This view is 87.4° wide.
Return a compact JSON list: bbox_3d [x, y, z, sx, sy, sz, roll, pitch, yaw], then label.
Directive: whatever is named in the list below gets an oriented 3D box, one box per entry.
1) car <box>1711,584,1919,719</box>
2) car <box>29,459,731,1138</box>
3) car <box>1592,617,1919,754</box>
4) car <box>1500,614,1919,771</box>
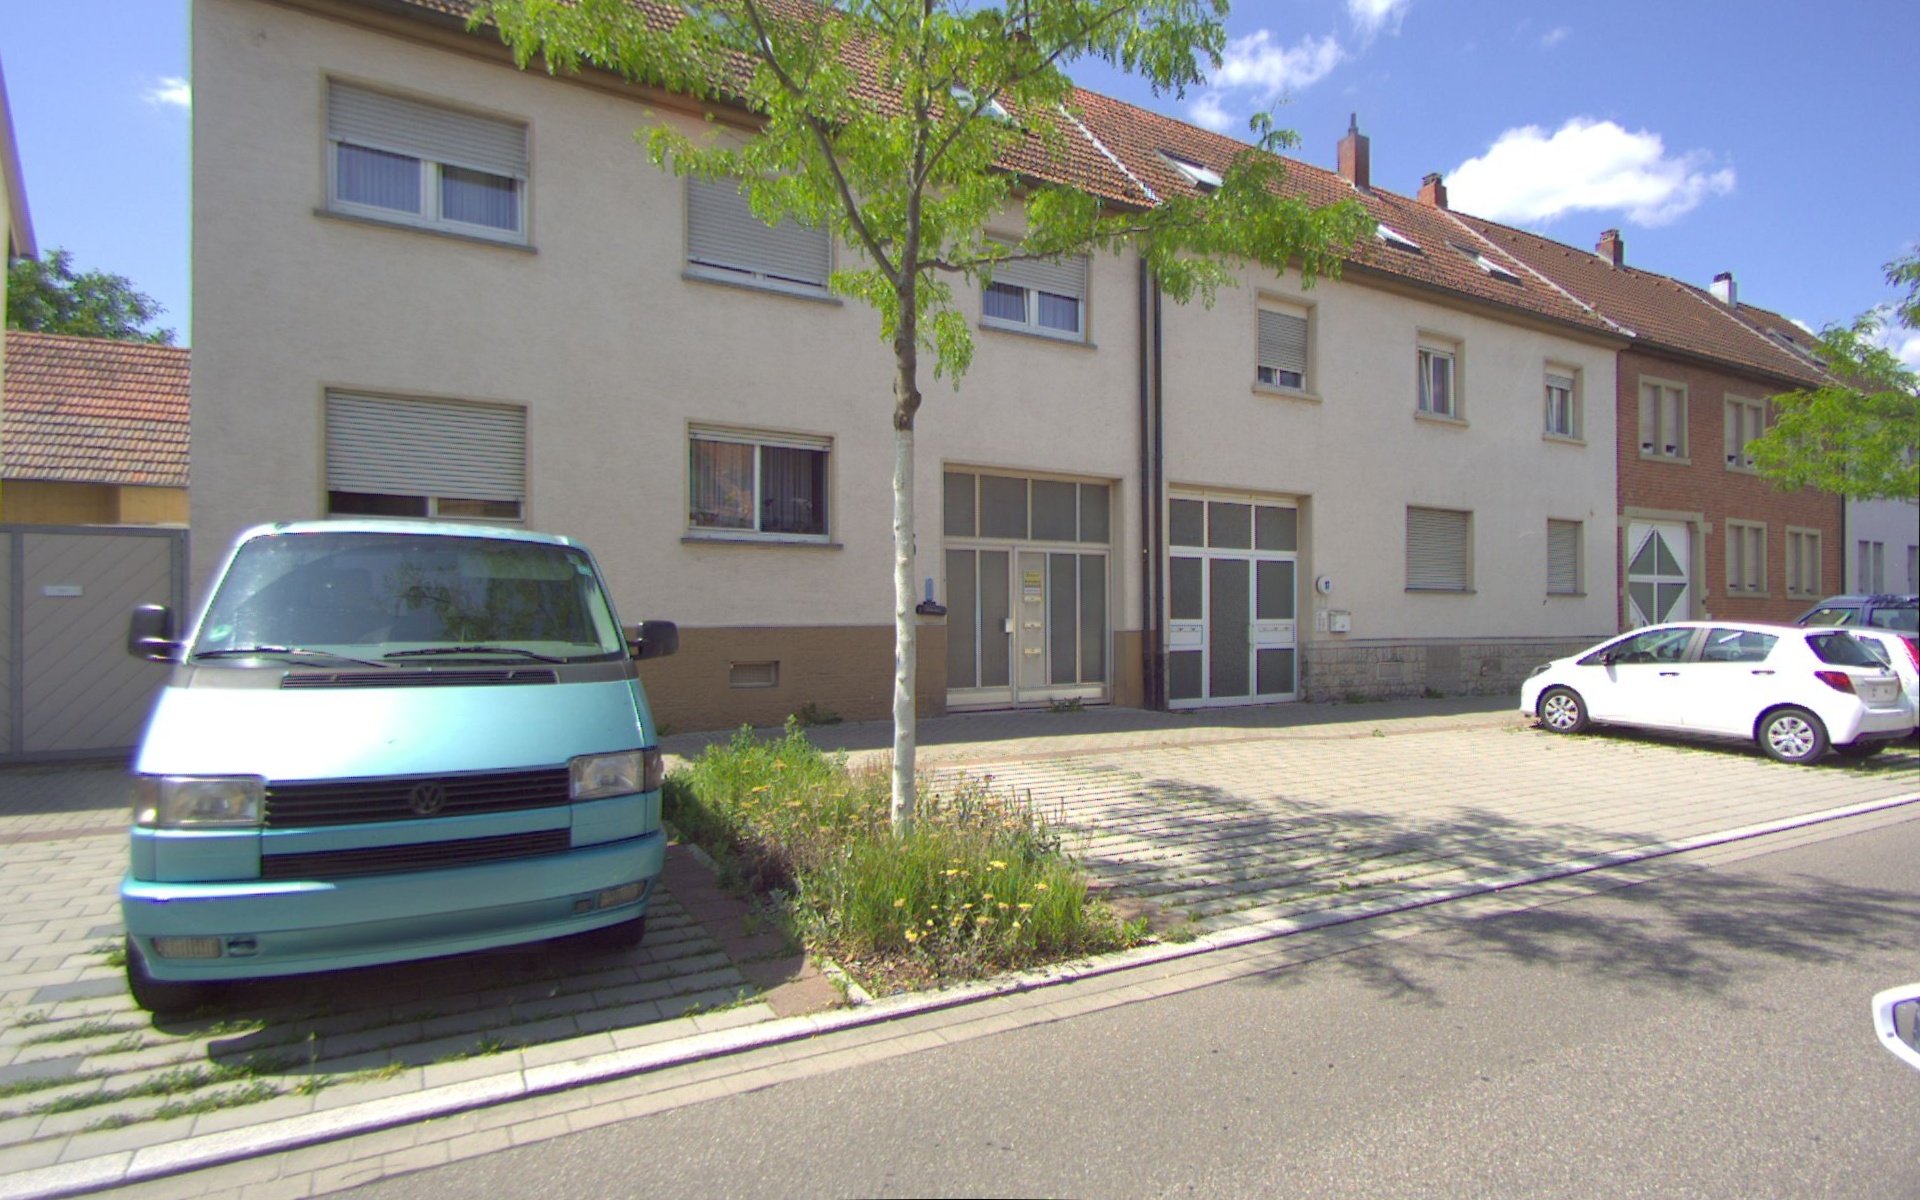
[{"bbox_3d":[15.023,0.789,15.943,1.928,2.023,4.595,1,0,-27],"label":"car"},{"bbox_3d":[-2.861,0.551,5.390,1.975,1.932,4.657,2,0,-28],"label":"car"},{"bbox_3d":[11.188,1.042,13.796,1.750,1.508,3.901,1,0,-27],"label":"car"},{"bbox_3d":[9.022,0.983,12.345,1.750,1.508,3.901,1,0,-27],"label":"car"}]
